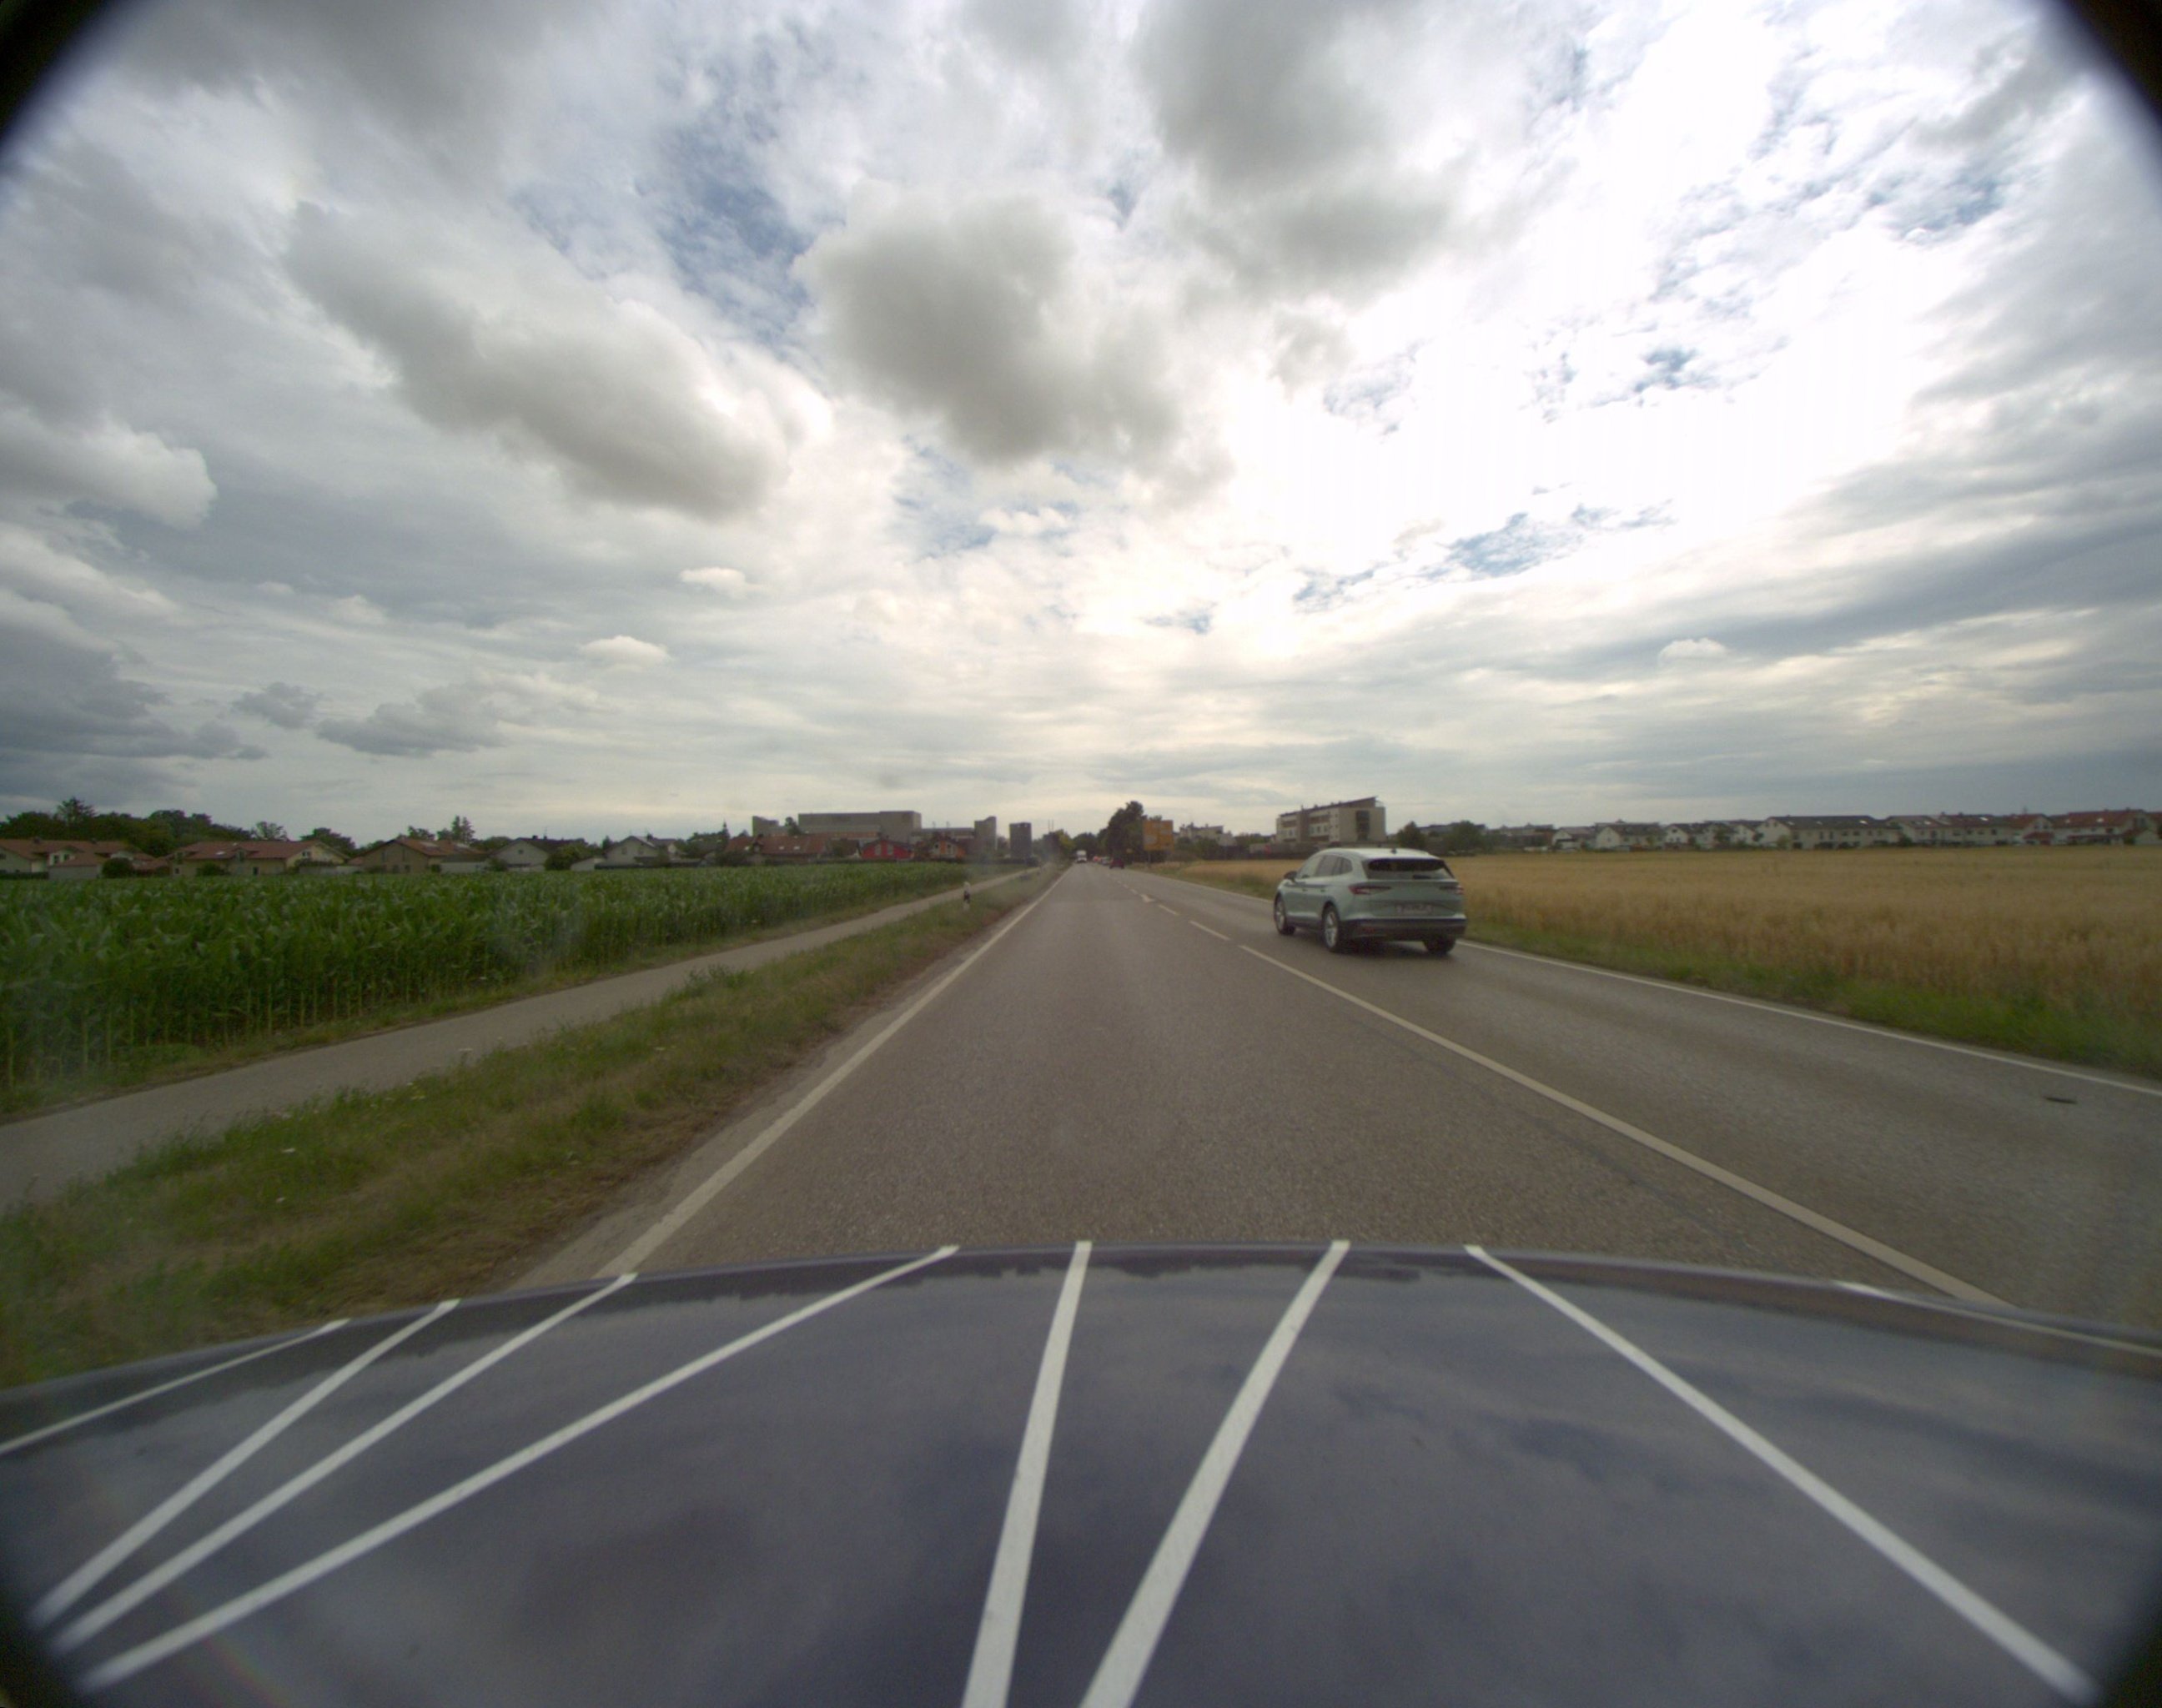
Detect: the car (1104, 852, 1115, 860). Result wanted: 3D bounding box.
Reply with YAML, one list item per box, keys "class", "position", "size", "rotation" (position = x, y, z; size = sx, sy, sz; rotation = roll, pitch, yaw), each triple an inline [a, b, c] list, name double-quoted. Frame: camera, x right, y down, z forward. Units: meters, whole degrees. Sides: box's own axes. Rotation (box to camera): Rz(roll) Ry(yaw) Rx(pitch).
- class: "car"
  position: [5.128, 0.331, 136.307]
  size: [1.811, 1.448, 4.113]
  rotation: [-1, 0, 0]

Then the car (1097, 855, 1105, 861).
- class: "car"
  position: [5.507, 1.064, 210.968]
  size: [1.998, 1.674, 4.809]
  rotation: [0, 0, 0]

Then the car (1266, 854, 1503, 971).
- class: "car"
  position: [4.732, 0.804, 12.764]
  size: [2.070, 1.571, 4.765]
  rotation: [1, 0, 0]

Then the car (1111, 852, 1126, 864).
- class: "car"
  position: [4.918, 0.528, 99.922]
  size: [1.716, 1.480, 4.608]
  rotation: [-1, 0, 0]

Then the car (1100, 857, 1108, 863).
- class: "car"
  position: [5.157, 1.280, 168.864]
  size: [1.733, 1.355, 3.949]
  rotation: [-1, 0, 0]

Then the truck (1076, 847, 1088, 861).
- class: "truck"
  position: [0.292, -0.004, 197.756]
  size: [2.613, 3.427, 7.509]
  rotation: [-2, 0, 3]
